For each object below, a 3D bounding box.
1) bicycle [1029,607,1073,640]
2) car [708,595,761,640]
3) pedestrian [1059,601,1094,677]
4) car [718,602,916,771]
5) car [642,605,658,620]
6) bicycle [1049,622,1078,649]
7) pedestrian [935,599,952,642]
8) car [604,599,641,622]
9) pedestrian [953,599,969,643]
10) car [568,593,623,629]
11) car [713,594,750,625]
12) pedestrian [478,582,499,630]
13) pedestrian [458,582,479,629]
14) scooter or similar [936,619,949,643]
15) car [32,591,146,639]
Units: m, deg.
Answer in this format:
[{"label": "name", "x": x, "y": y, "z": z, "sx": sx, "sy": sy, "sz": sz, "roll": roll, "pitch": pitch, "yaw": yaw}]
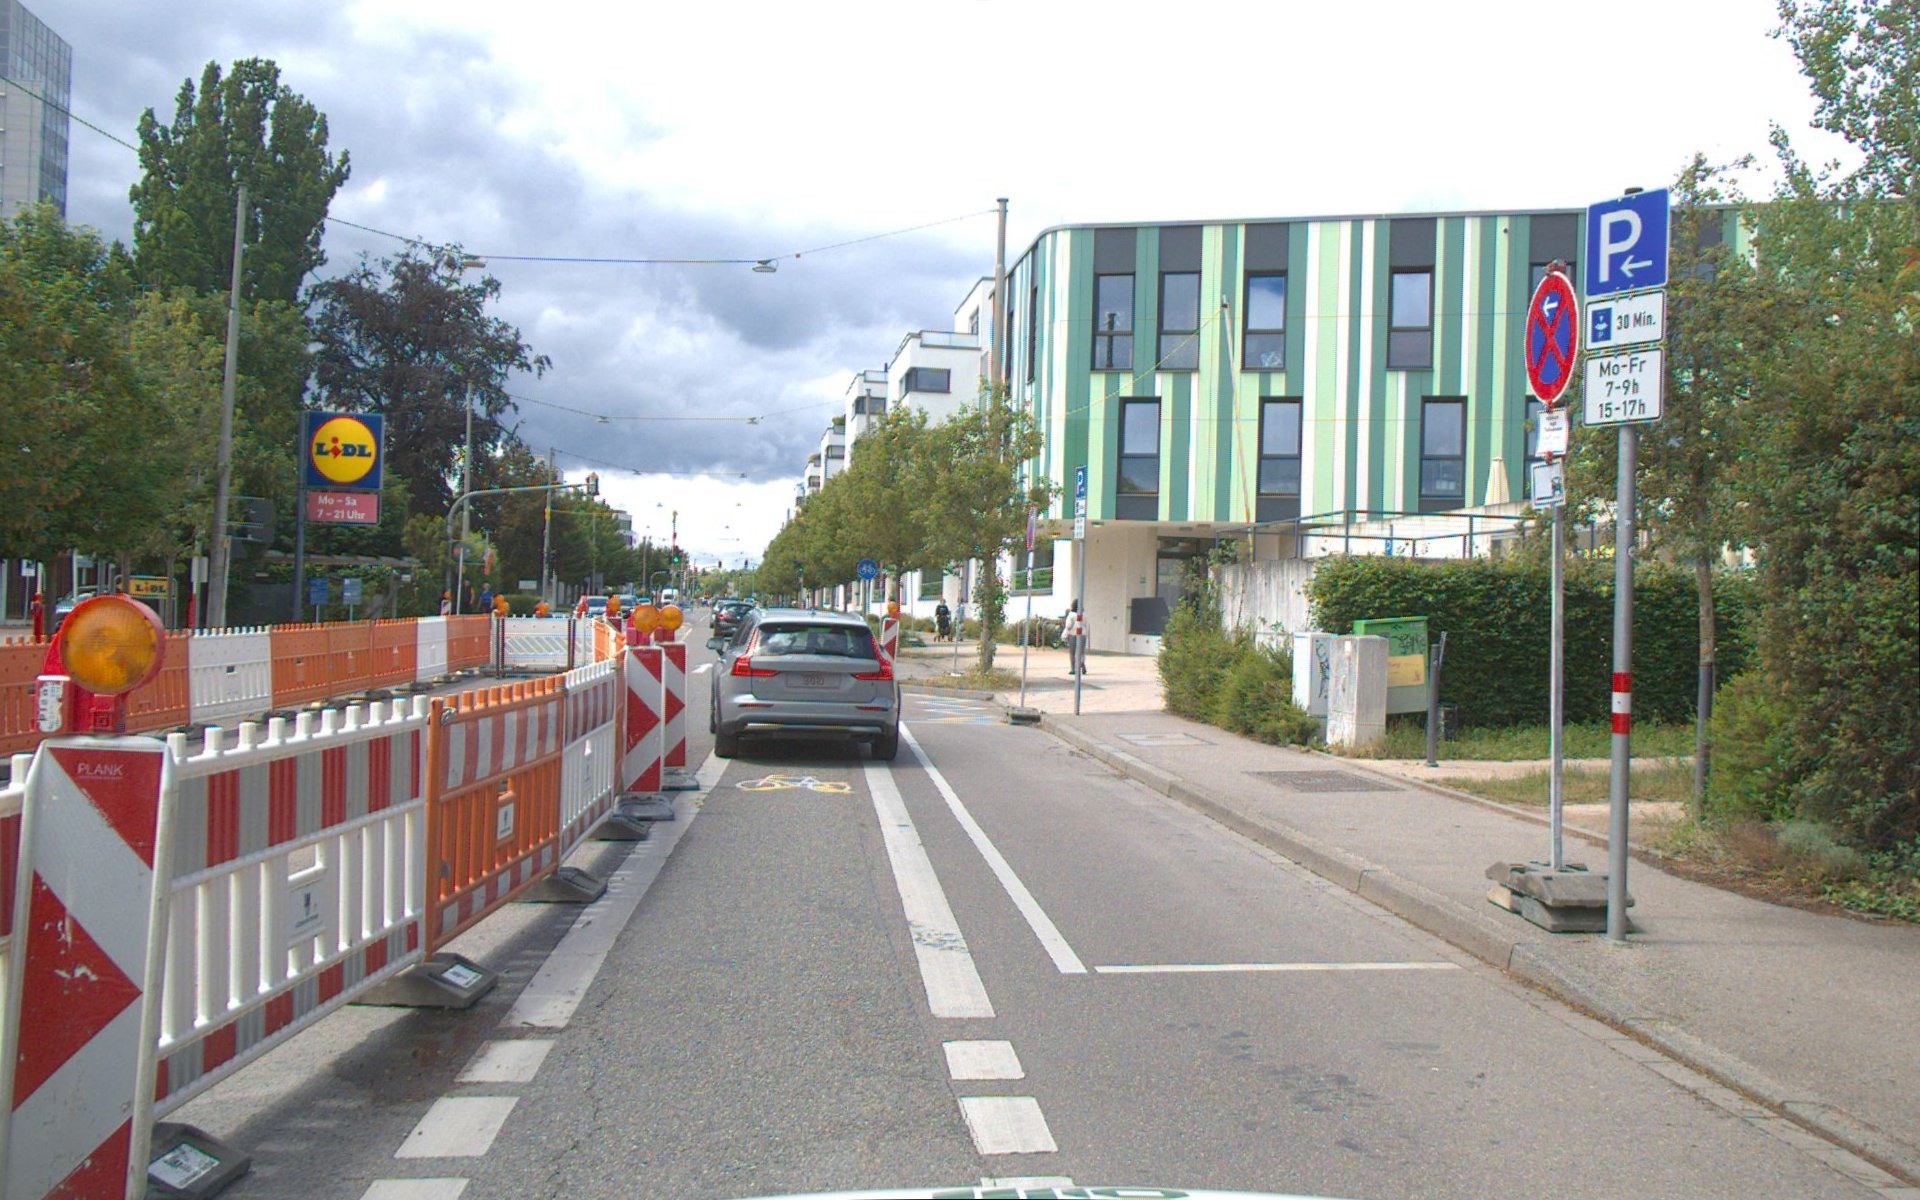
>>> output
[{"label": "bicycle", "x": 3.021, "y": 0.770, "z": 54.783, "sx": 1.443, "sy": 1.064, "sz": 0.305, "roll": 0, "pitch": 0, "yaw": -21}, {"label": "car", "x": -8.384, "y": 0.612, "z": 61.312, "sx": 1.820, "sy": 1.539, "sz": 3.992, "roll": 2, "pitch": 0, "yaw": -9}, {"label": "pedestrian", "x": 2.458, "y": 0.818, "z": 34.975, "sx": 0.570, "sy": 1.579, "sz": 0.867, "roll": 0, "pitch": 0, "yaw": -8}, {"label": "car", "x": -1.559, "y": 0.822, "z": 17.624, "sx": 1.819, "sy": 1.539, "sz": 3.995, "roll": 2, "pitch": 0, "yaw": -6}, {"label": "car", "x": -35.847, "y": 1.436, "z": 191.317, "sx": 1.630, "sy": 1.542, "sz": 3.992, "roll": 1, "pitch": 0, "yaw": -8}, {"label": "bicycle", "x": 3.355, "y": 1.138, "z": 53.745, "sx": 1.016, "sy": 0.856, "sz": 0.302, "roll": 0, "pitch": 0, "yaw": -41}, {"label": "pedestrian", "x": -0.639, "y": 0.794, "z": 64.321, "sx": 0.594, "sy": 1.684, "sz": 0.551, "roll": 1, "pitch": 0, "yaw": -9}, {"label": "car", "x": -21.177, "y": 0.642, "z": 103.944, "sx": 1.956, "sy": 1.424, "sz": 4.802, "roll": -1, "pitch": 0, "yaw": -8}, {"label": "pedestrian", "x": 0.032, "y": 0.813, "z": 63.764, "sx": 0.540, "sy": 1.684, "sz": 0.606, "roll": 1, "pitch": 0, "yaw": -9}, {"label": "car", "x": -16.167, "y": 0.466, "z": 73.596, "sx": 1.818, "sy": 1.539, "sz": 3.996, "roll": 0, "pitch": 0, "yaw": -4}, {"label": "car", "x": -12.080, "y": 0.496, "z": 87.263, "sx": 1.811, "sy": 1.539, "sz": 3.992, "roll": 2, "pitch": 0, "yaw": -9}, {"label": "pedestrian", "x": -18.841, "y": 0.231, "z": 66.158, "sx": 0.669, "sy": 1.887, "sz": 0.890, "roll": 1, "pitch": -1, "yaw": -8}, {"label": "pedestrian", "x": -19.655, "y": 0.226, "z": 66.146, "sx": 0.669, "sy": 1.887, "sz": 0.705, "roll": 1, "pitch": -1, "yaw": -8}, {"label": "scooter or similar", "x": -0.664, "y": 1.192, "z": 63.872, "sx": 0.414, "sy": 0.921, "sz": 0.680, "roll": 1, "pitch": 0, "yaw": -9}, {"label": "car", "x": -27.737, "y": 0.462, "z": 52.812, "sx": 1.956, "sy": 1.478, "sz": 3.992, "roll": 0, "pitch": 0, "yaw": -8}]
